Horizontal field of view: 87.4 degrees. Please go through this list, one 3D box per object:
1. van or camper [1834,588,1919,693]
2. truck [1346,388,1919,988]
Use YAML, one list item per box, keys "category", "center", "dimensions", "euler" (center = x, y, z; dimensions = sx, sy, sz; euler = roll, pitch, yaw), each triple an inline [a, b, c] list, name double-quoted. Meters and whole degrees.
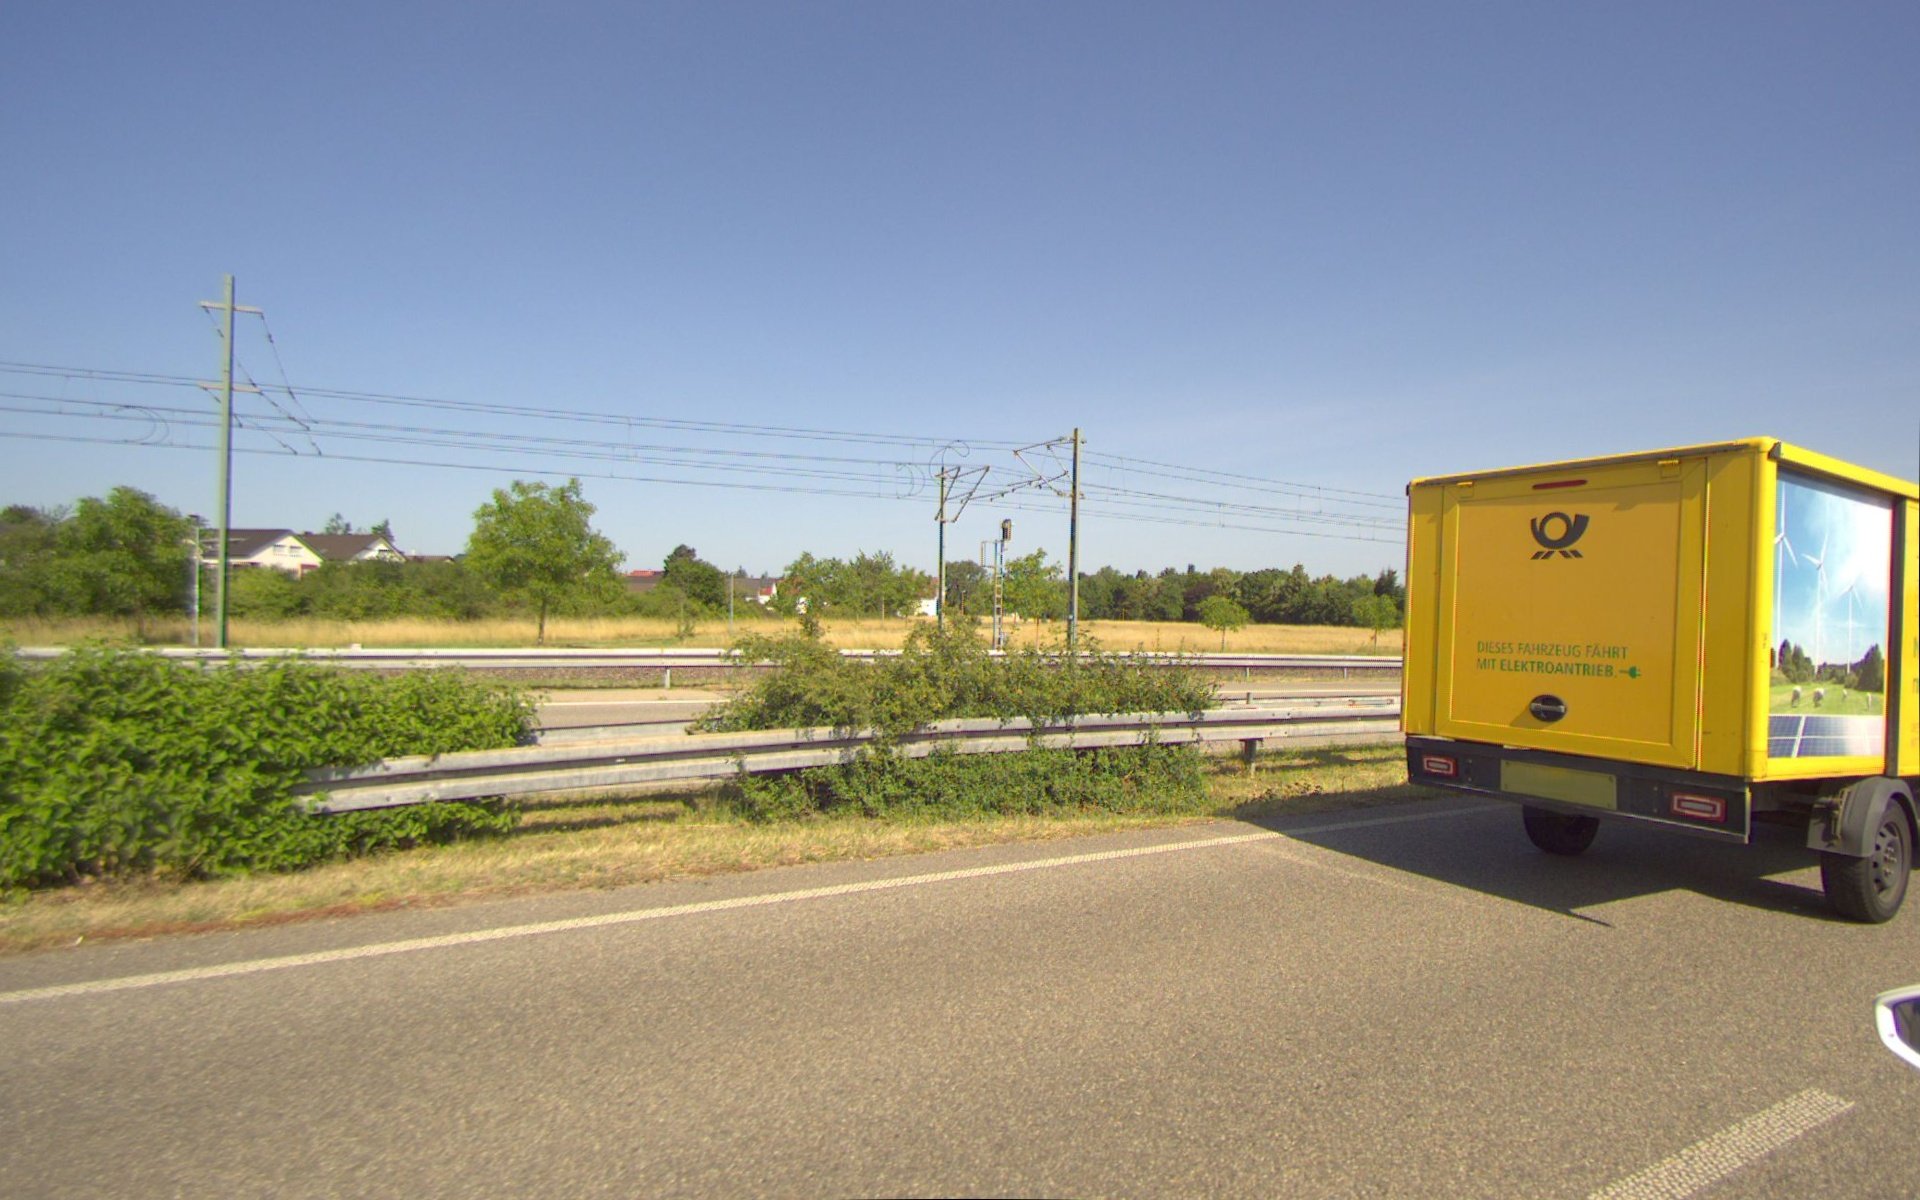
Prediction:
- category: "van or camper"
  center: [37.227, 1.555, 38.331]
  dimensions: [8.532, 3.729, 2.866]
  euler: [2, -1, -27]
- category: "truck"
  center: [5.345, 0.461, 6.595]
  dimensions: [5.849, 2.490, 2.101]
  euler: [2, -1, -31]
